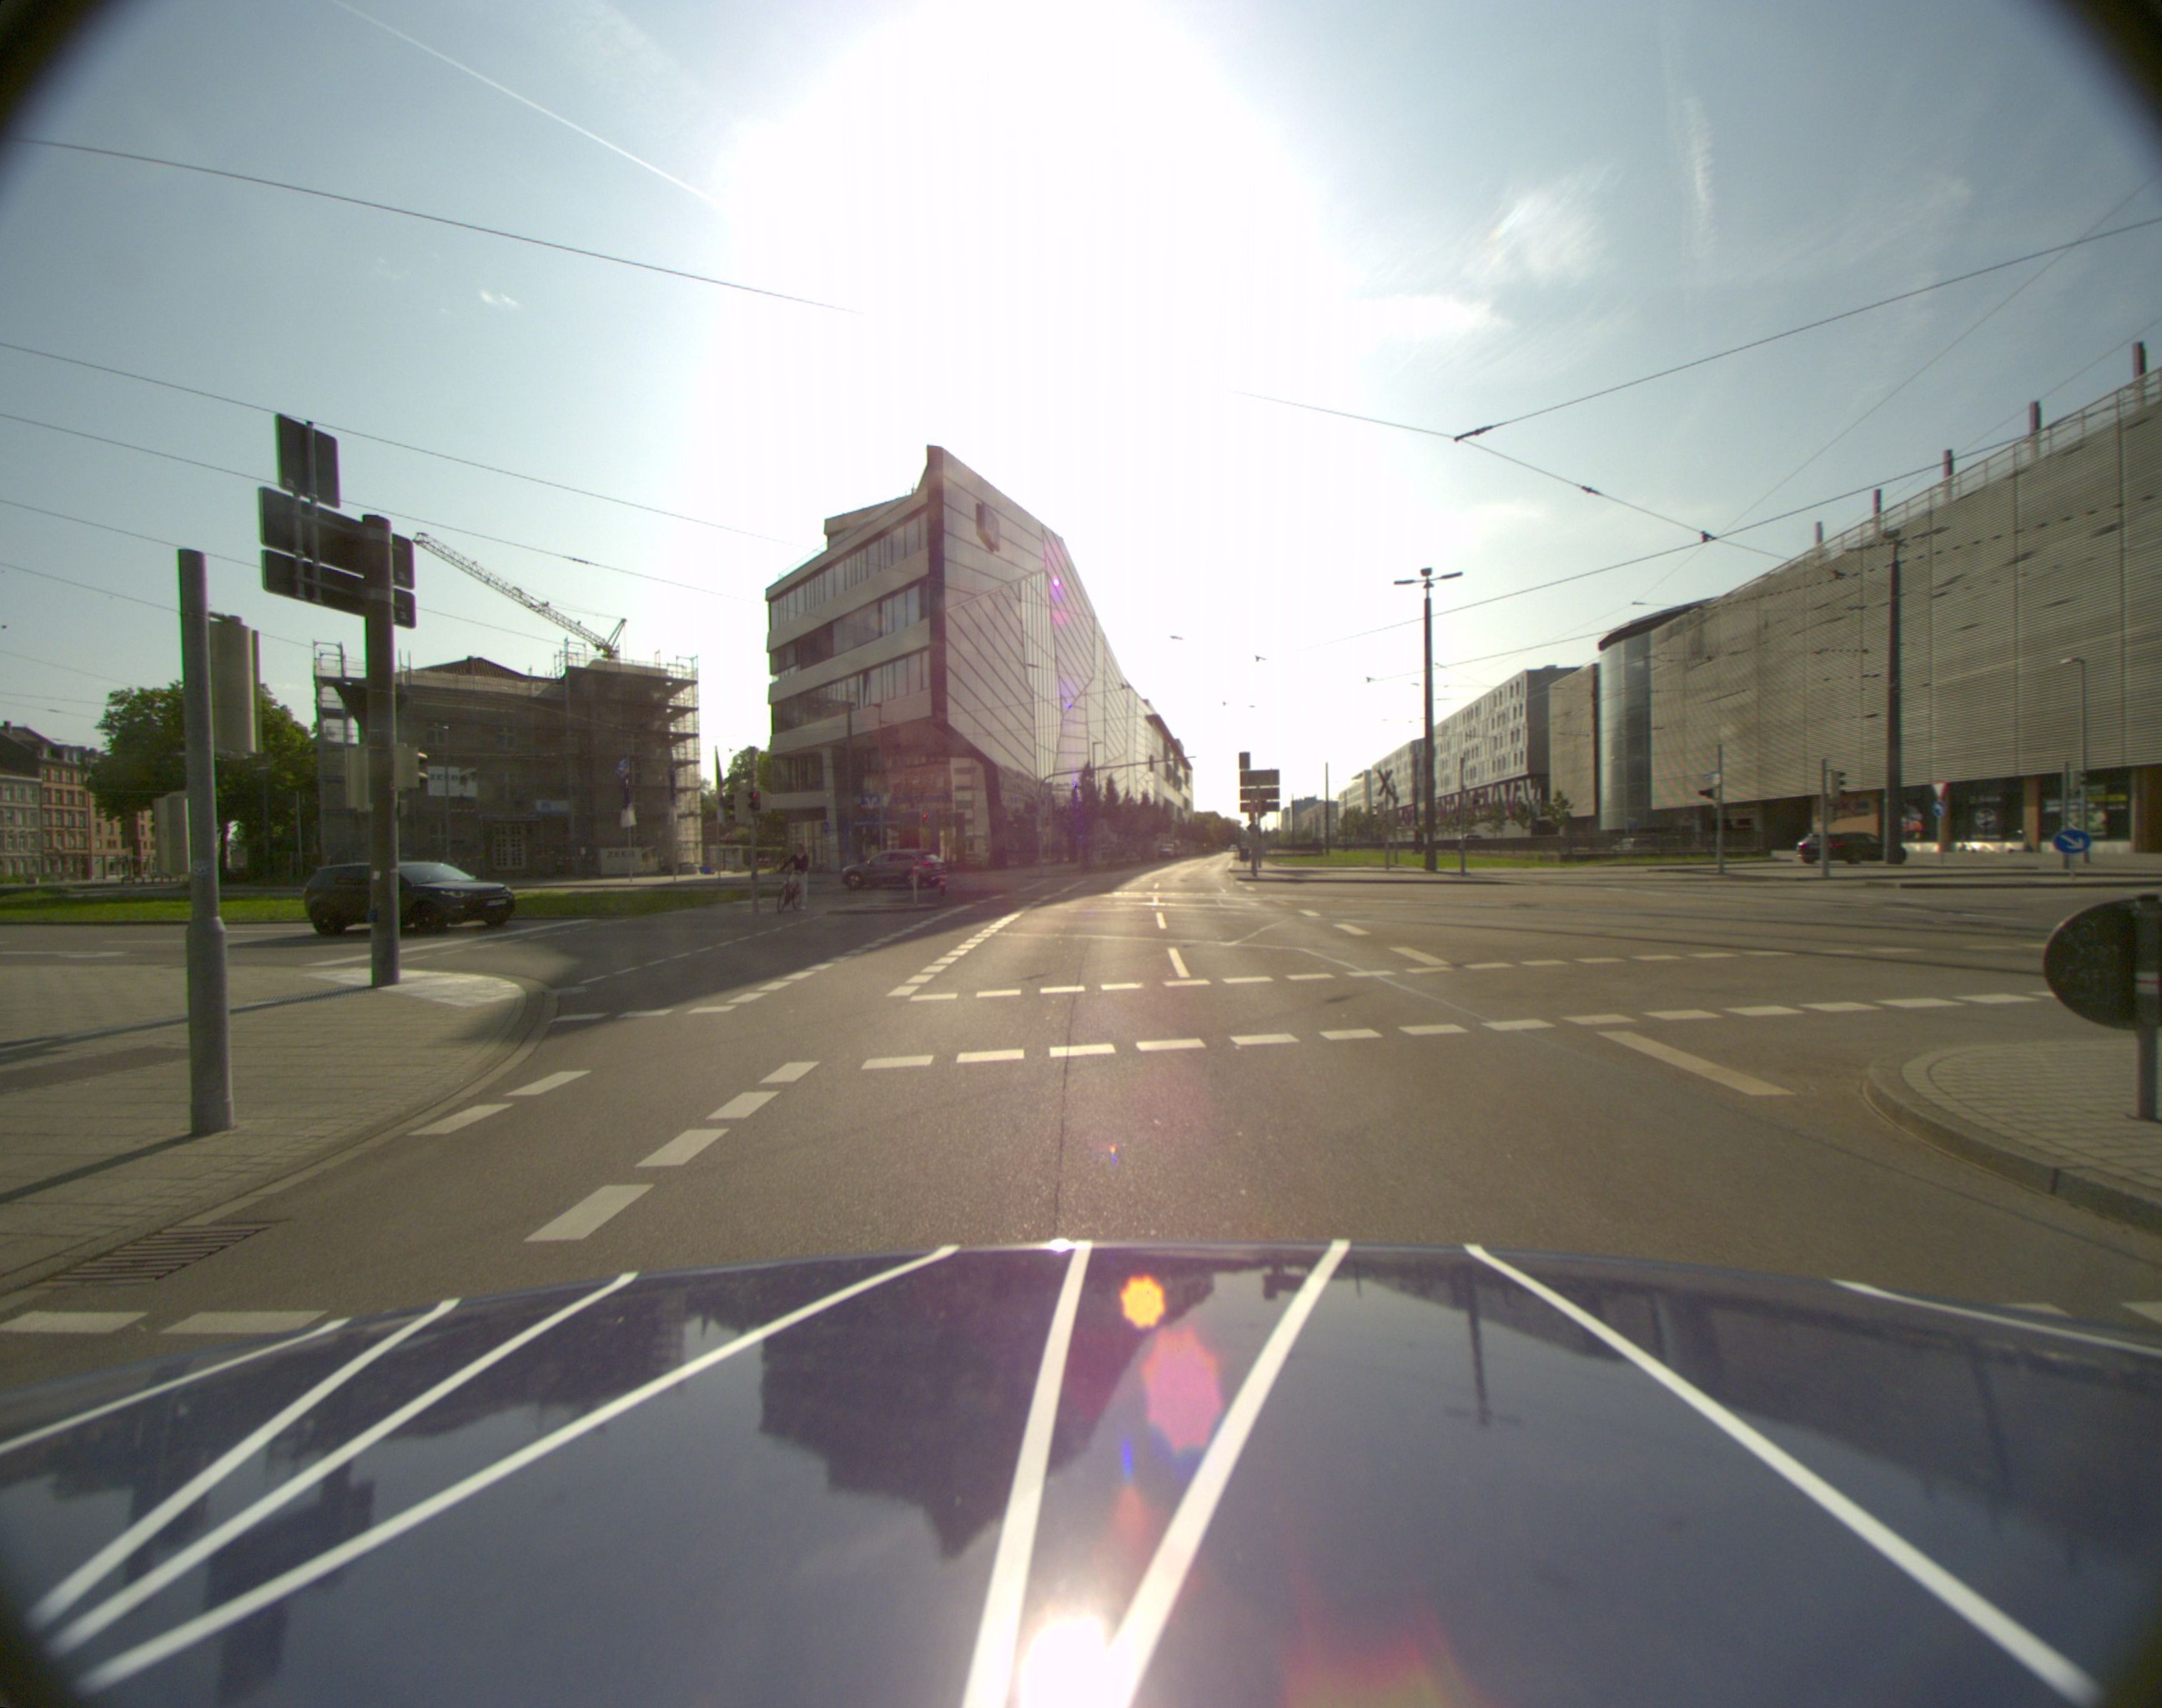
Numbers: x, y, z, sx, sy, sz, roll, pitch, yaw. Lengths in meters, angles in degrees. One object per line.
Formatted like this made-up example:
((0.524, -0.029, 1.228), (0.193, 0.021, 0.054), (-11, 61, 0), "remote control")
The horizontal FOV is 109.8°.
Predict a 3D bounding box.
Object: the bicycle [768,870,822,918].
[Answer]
((-7.462, 1.014, 19.906), (0.669, 1.092, 1.804), (-1, 2, 1), "bicycle")

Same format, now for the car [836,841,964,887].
((-7.512, 0.407, 31.639), (4.805, 1.773, 1.957), (0, 3, 16), "car")

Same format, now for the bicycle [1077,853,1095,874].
((0.302, 0.509, 42.059), (0.418, 1.050, 1.961), (0, 2, 17), "bicycle")

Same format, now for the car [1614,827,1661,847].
((44.639, -1.405, 61.015), (1.740, 1.551, 3.403), (0, 2, 11), "car")

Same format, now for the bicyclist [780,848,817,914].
((-7.462, 0.694, 20.072), (0.669, 1.693, 0.637), (-1, 3, 1), "bicyclist")

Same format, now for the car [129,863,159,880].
((-123.473, 2.289, 100.163), (2.004, 1.968, 3.988), (-3, 3, -45), "car")

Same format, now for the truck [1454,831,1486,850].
((50.965, -1.764, 99.630), (2.205, 2.308, 4.553), (-1, 1, 7), "truck")

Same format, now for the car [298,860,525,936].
((-16.006, 1.032, 18.258), (4.215, 1.668, 1.804), (-1, 0, 10), "car")

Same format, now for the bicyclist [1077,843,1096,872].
((0.318, 0.193, 42.024), (0.782, 1.578, 0.933), (0, 3, 17), "bicyclist")
